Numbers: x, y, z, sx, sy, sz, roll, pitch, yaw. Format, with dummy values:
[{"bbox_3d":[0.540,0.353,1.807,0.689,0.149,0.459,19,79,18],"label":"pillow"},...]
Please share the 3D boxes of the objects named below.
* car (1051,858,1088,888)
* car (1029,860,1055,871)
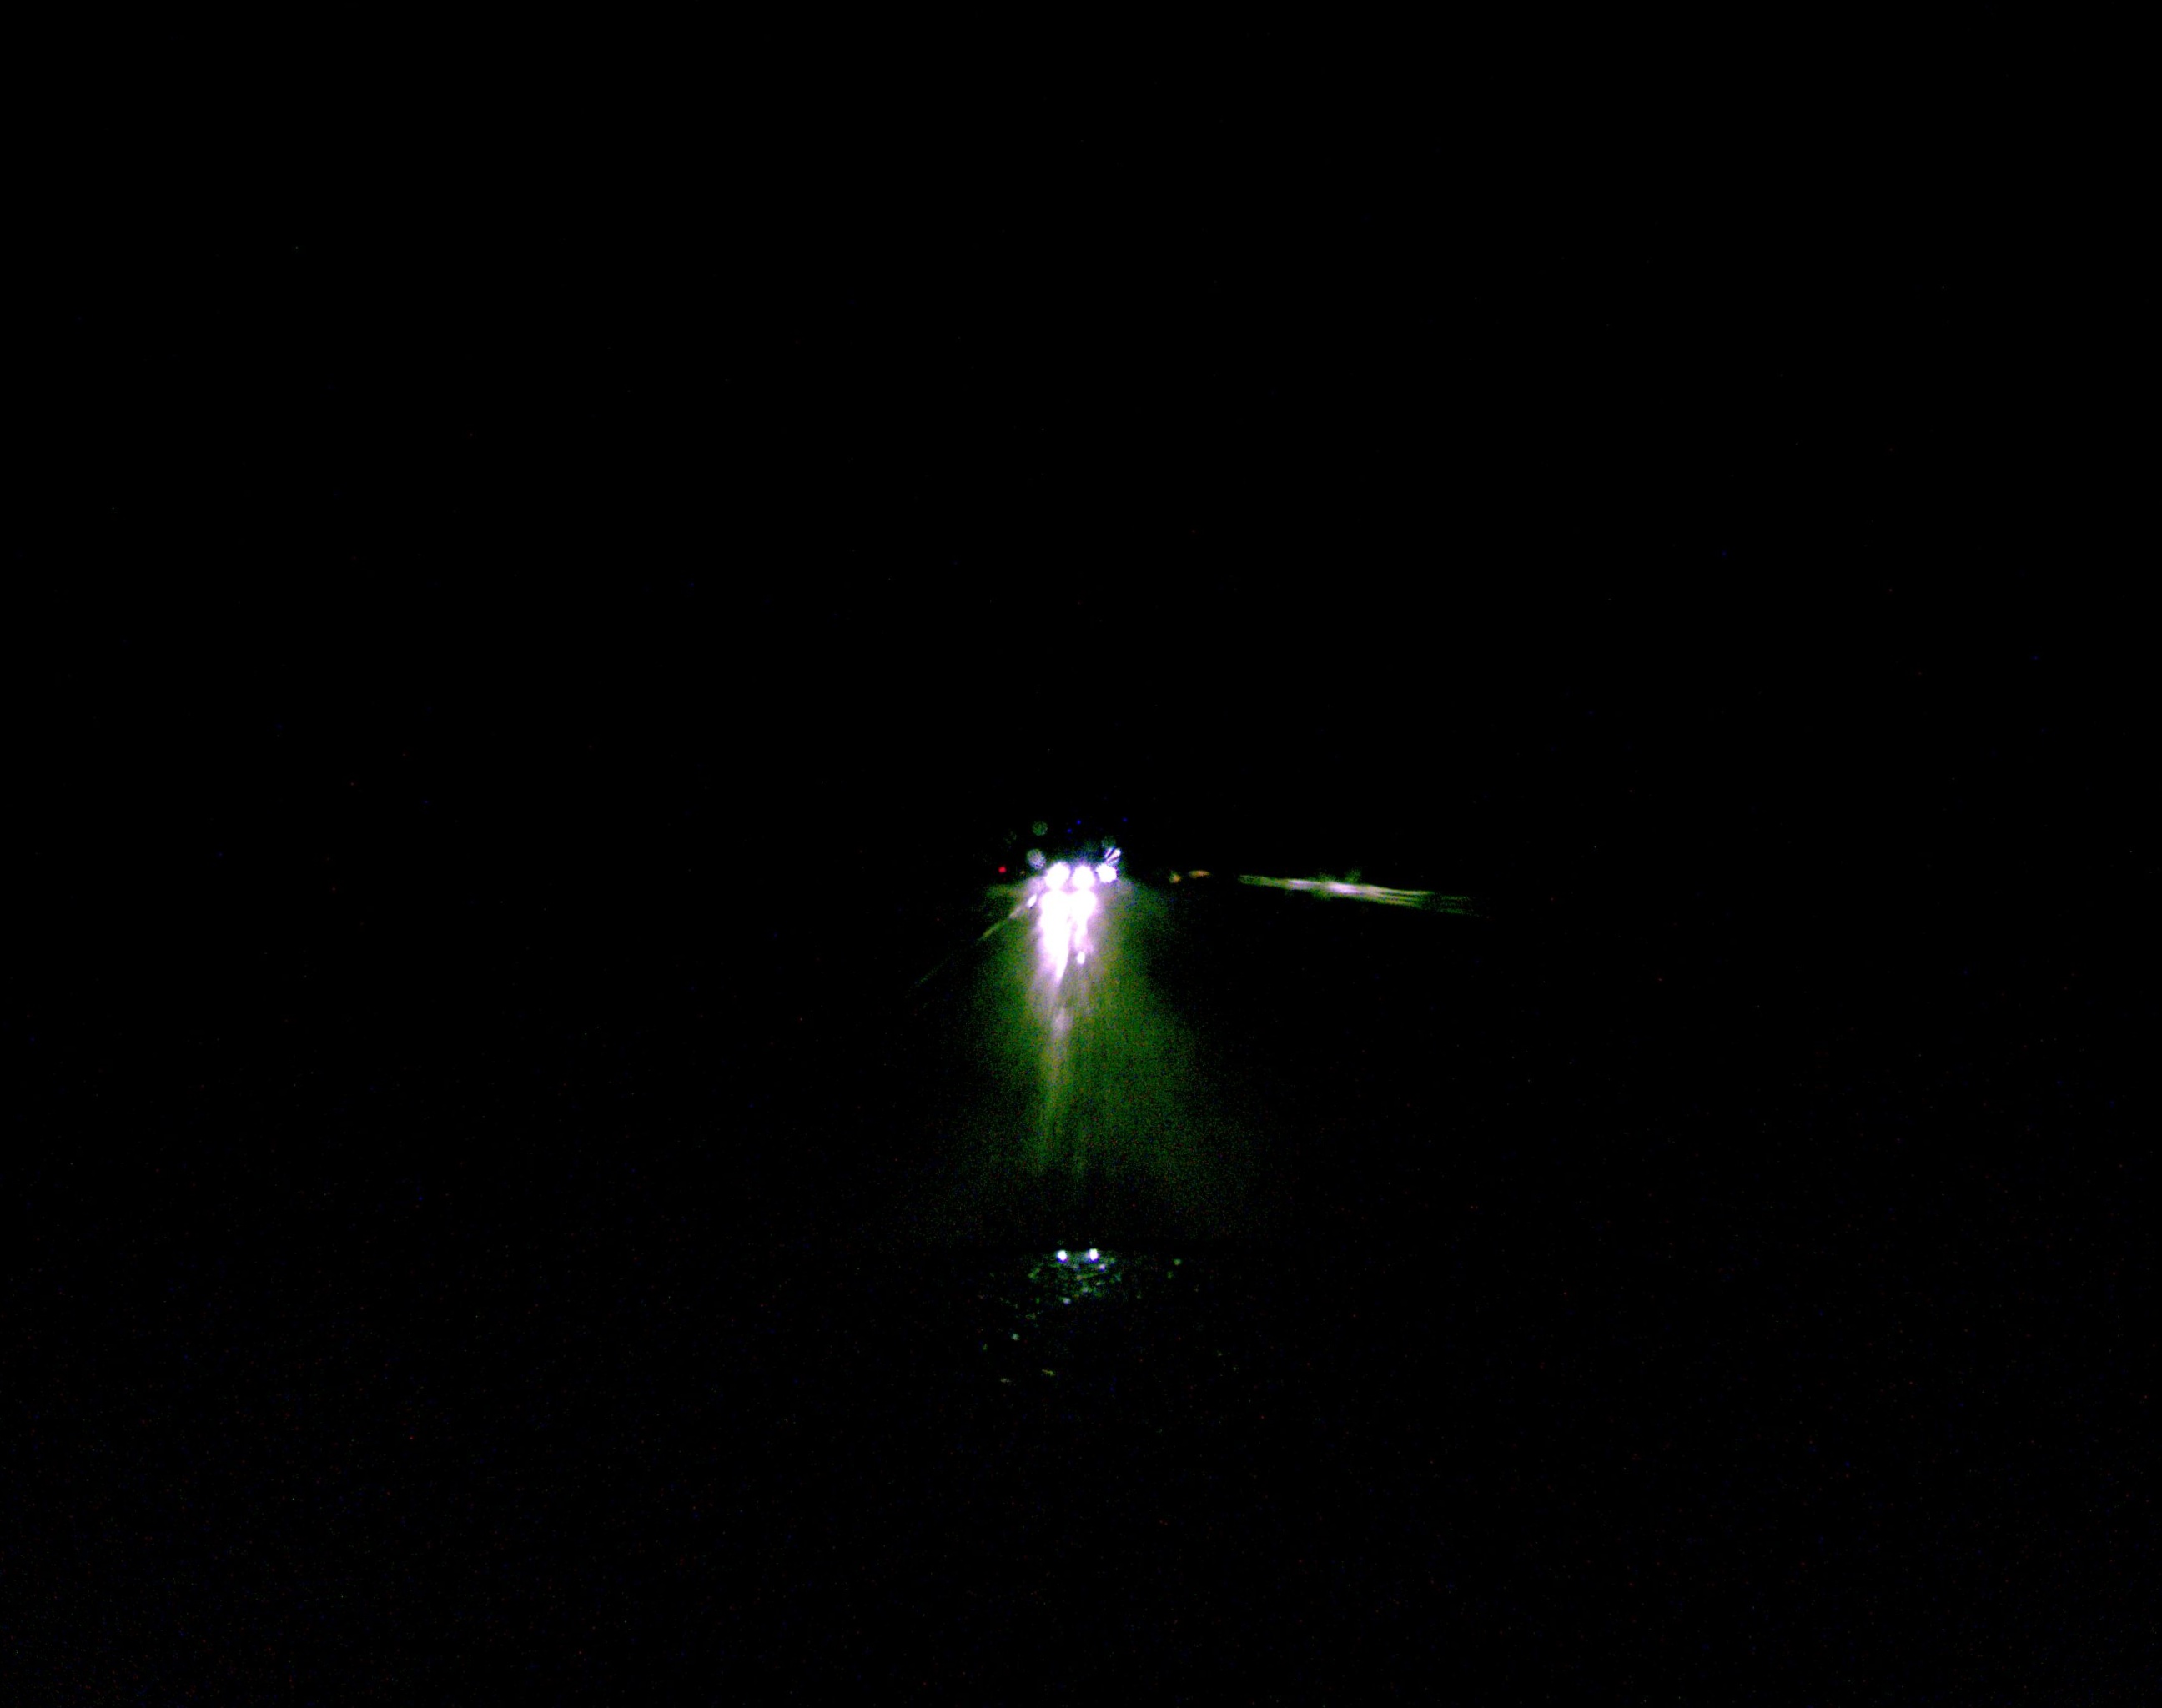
[{"bbox_3d":[-0.611,1.031,41.457,1.901,1.551,4.001,1,-1,0],"label":"car"},{"bbox_3d":[-7.787,2.322,151.621,4.952,1.827,1.932,3,-2,-13],"label":"car"}]
